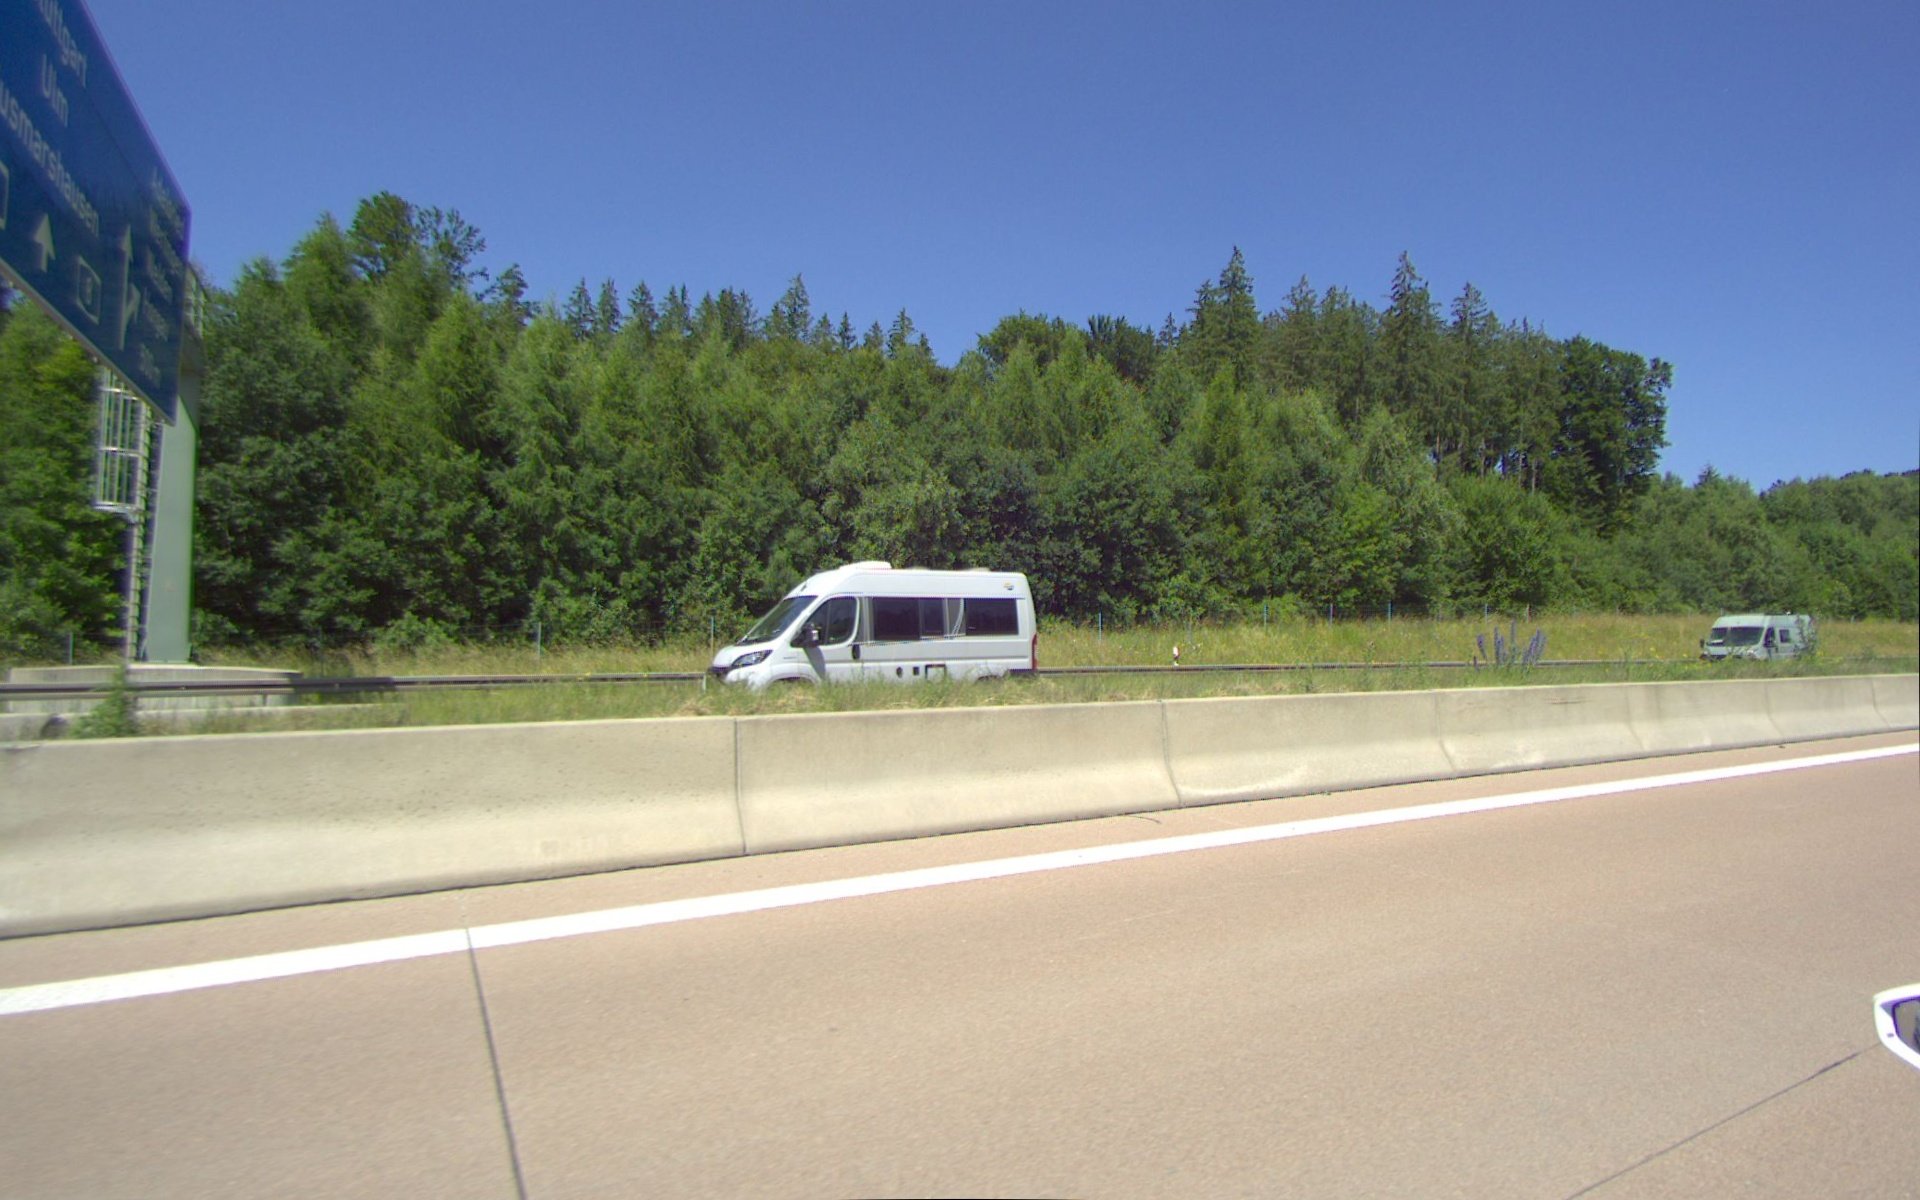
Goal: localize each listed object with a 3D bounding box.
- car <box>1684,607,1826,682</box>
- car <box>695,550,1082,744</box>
[{"bbox_3d":[31.449,1.701,39.659,6.810,2.722,2.221,1,0,-32],"label":"car"},{"bbox_3d":[-1.071,0.716,16.593,6.028,2.722,2.221,1,0,-31],"label":"car"}]
